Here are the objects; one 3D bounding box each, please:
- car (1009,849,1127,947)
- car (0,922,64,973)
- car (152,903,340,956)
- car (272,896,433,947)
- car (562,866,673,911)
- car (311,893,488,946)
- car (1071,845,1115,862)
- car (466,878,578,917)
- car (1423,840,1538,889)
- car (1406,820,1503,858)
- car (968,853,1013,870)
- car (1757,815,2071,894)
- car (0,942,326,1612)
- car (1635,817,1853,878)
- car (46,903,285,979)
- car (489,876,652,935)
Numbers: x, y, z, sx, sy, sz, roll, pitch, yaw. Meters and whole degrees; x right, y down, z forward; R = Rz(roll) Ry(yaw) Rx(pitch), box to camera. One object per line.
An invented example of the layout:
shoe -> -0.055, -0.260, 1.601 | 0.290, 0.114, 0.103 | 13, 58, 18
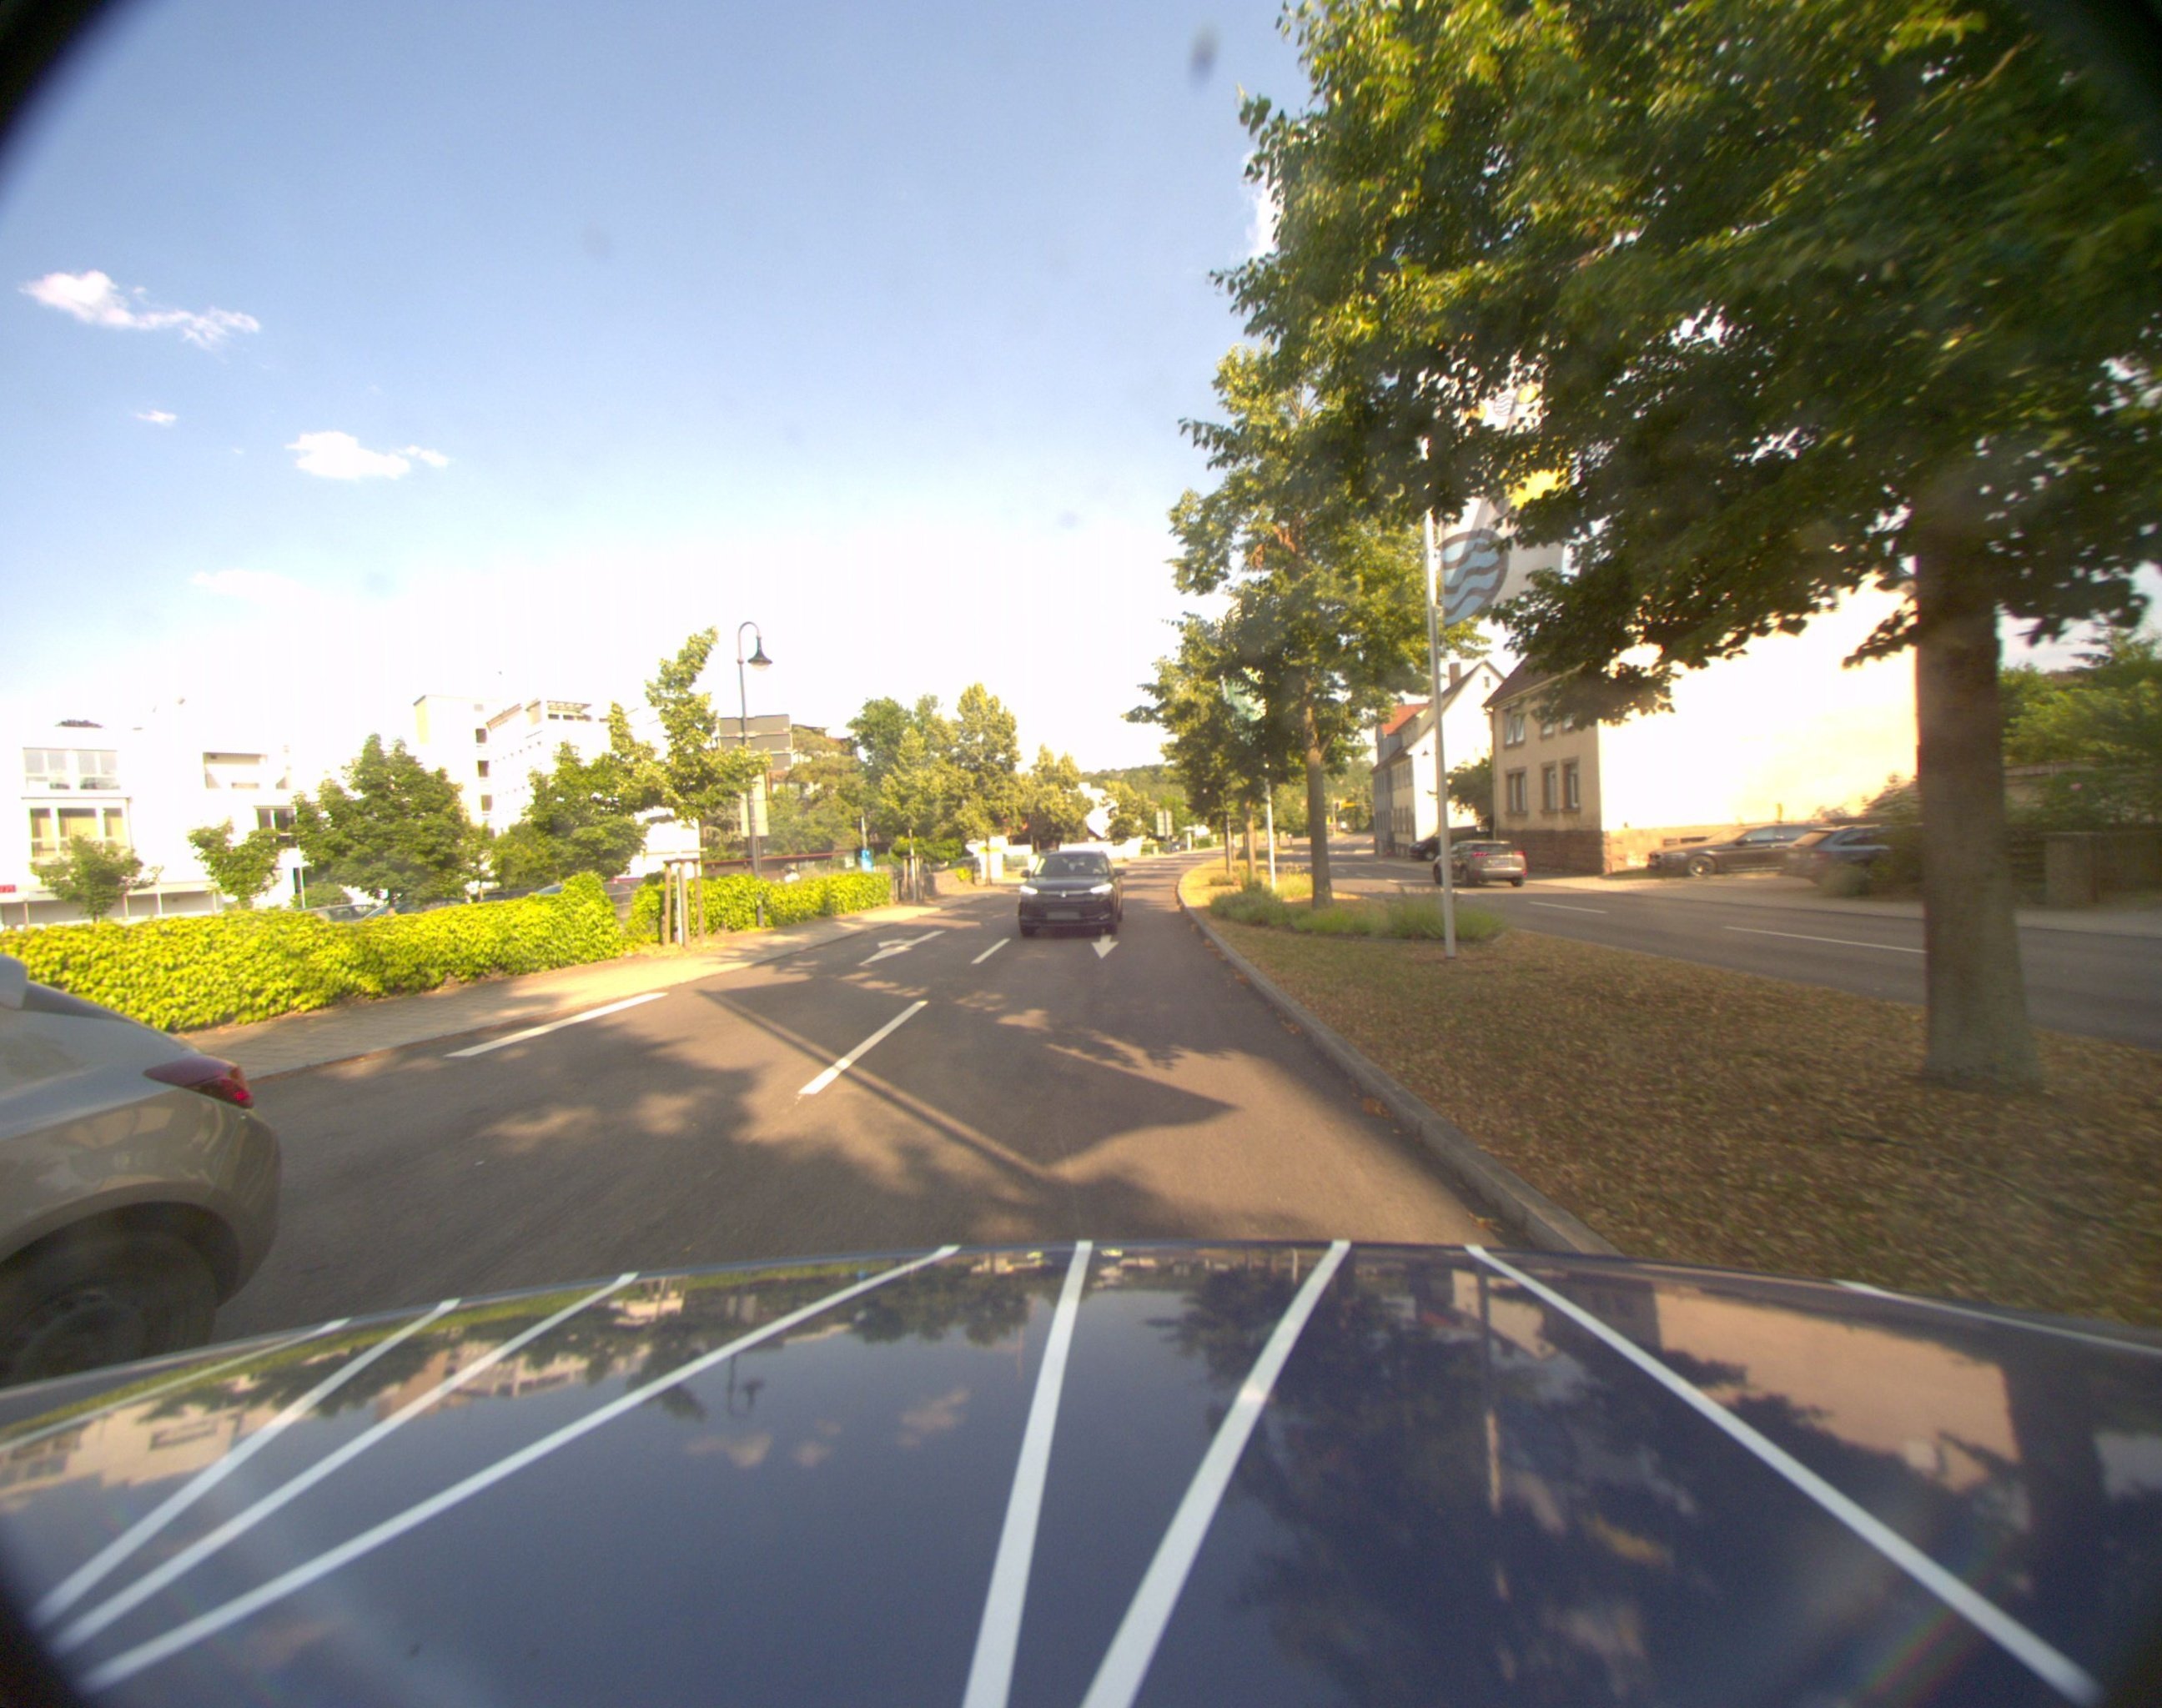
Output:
car -> -0.111, 0.764, 15.345 | 1.724, 1.605, 4.263 | -2, 1, 8
car -> -38.788, 3.395, 25.848 | 1.996, 1.638, 4.553 | -3, 1, 21
car -> -32.237, 2.871, 29.566 | 1.876, 1.435, 4.551 | -3, 1, 10
car -> -27.698, 2.530, 29.100 | 1.997, 1.435, 3.955 | -3, 1, 10
car -> -22.856, 1.651, 37.713 | 1.997, 1.844, 4.650 | -3, 1, 11
car -> -25.121, 2.372, 28.279 | 1.997, 1.435, 4.551 | -3, 1, 10
car -> 1.212, -0.080, 75.266 | 3.831, 1.412, 1.940 | -3, 1, 16
car -> -29.810, 2.280, 40.723 | 1.997, 1.638, 4.551 | -3, 1, 11
car -> 13.419, 0.296, 25.839 | 1.944, 1.477, 4.325 | -2, 1, 5
car -> 22.447, -0.890, 45.865 | 4.831, 1.866, 2.002 | -5, 1, 15
car -> -9.150, 0.747, 76.900 | 3.992, 1.412, 1.940 | -3, 1, 16
car -> 18.542, 0.030, 17.223 | 4.351, 1.477, 1.949 | -3, 0, 20
car -> -3.455, 1.063, 0.380 | 1.725, 1.481, 4.307 | -2, 0, 2
car -> 19.175, -0.176, 22.251 | 4.351, 1.477, 2.014 | -3, 1, 19
car -> -28.623, 2.658, 23.983 | 1.891, 1.713, 4.320 | -5, 0, 16
car -> -17.684, 1.723, 26.643 | 1.997, 1.523, 4.551 | -5, 0, 10
